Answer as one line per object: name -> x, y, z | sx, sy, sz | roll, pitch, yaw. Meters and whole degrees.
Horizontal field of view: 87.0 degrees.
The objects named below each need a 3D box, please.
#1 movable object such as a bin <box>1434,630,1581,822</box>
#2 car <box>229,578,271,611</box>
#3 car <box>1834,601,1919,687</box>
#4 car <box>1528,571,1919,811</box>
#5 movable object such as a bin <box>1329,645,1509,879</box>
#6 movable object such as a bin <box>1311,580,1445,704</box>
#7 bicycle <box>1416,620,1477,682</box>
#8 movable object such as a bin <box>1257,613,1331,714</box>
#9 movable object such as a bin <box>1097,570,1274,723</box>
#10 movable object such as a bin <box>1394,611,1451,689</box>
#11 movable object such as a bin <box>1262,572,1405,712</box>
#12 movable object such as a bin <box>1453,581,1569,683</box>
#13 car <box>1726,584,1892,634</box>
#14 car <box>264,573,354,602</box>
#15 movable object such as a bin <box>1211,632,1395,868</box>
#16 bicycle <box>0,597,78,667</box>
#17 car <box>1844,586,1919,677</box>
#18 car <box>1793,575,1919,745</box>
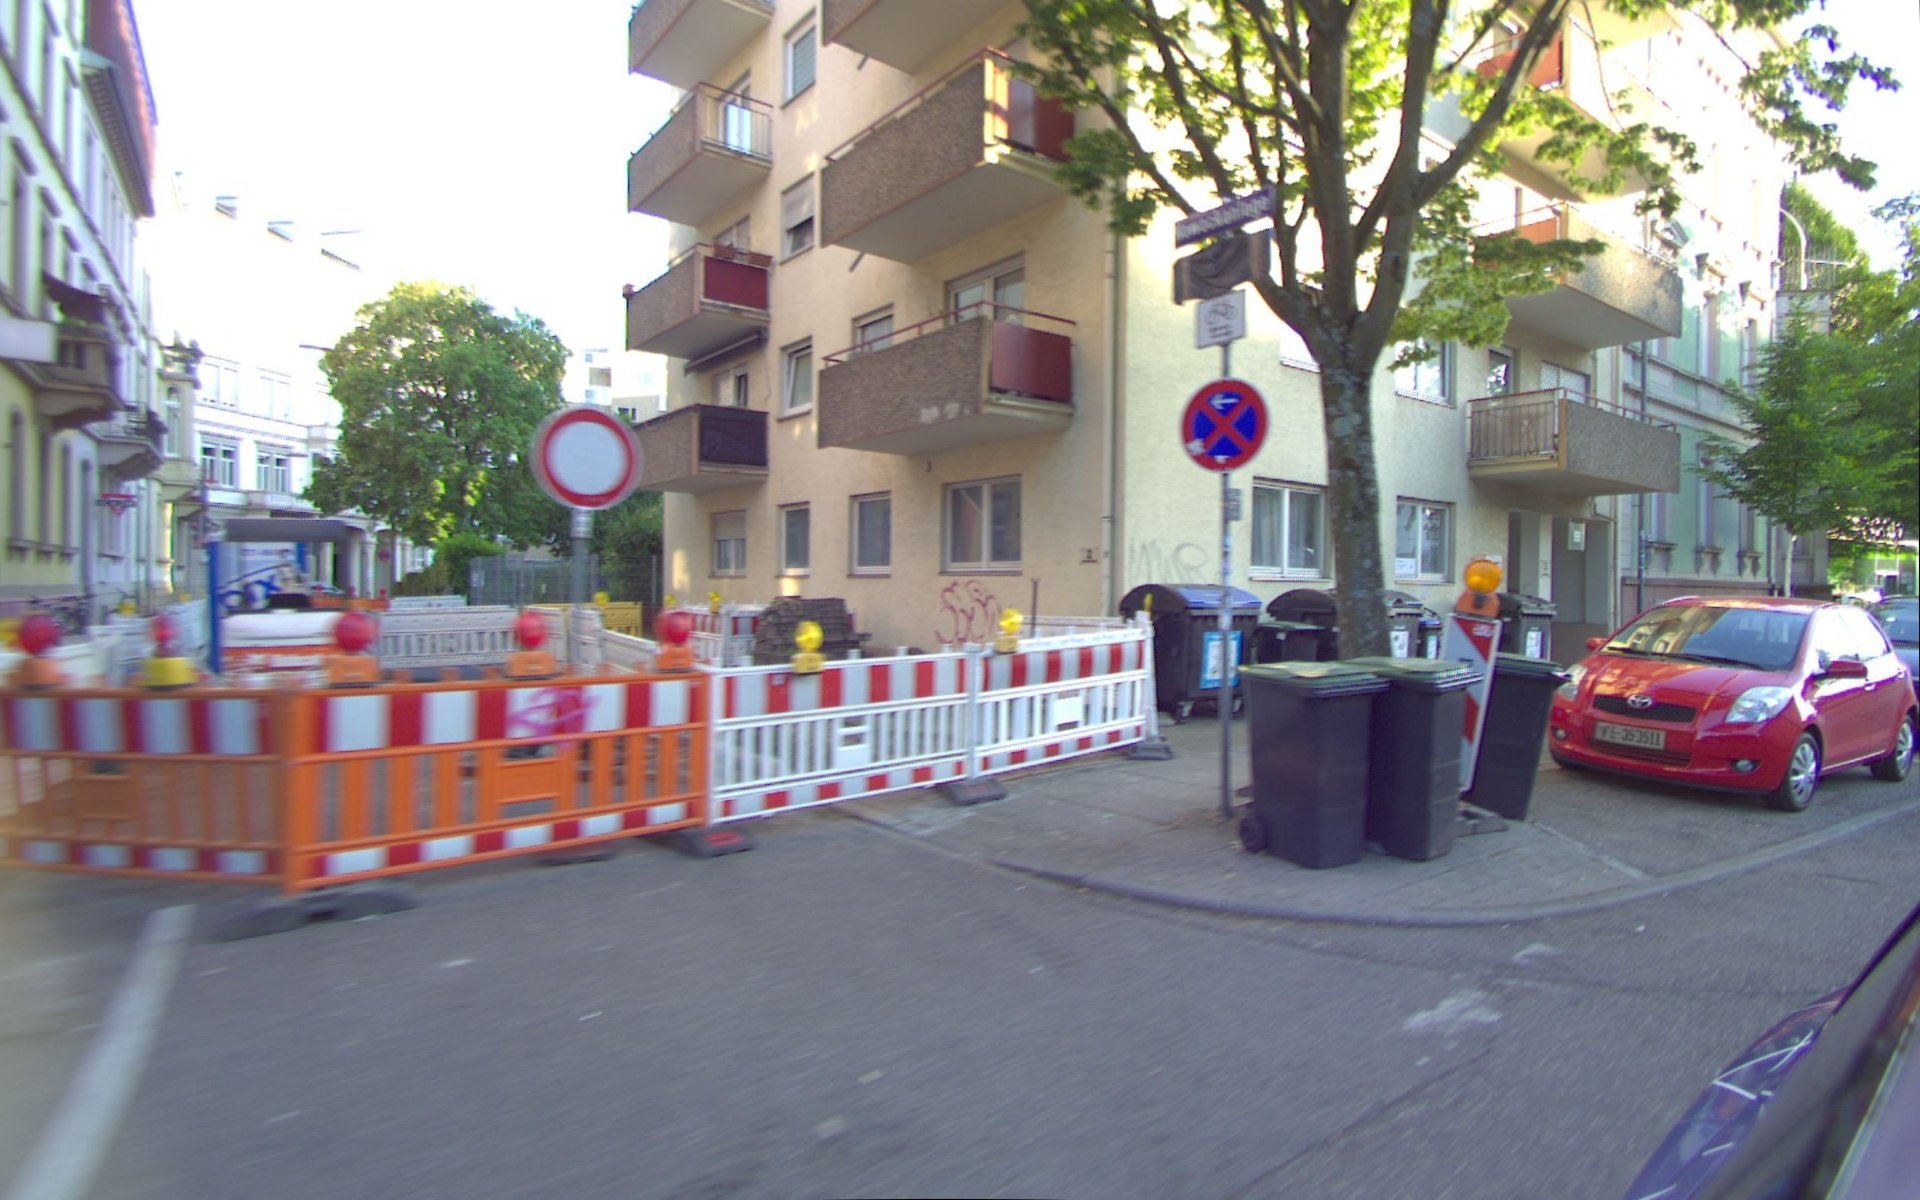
movable object such as a bin -> 3.608, 0.799, 6.725 | 0.612, 1.168, 0.715 | 1, 0, 6
car -> -33.865, -0.284, 48.253 | 1.504, 1.438, 3.696 | 0, 1, -37
car -> 18.319, 0.783, 17.769 | 4.162, 1.472, 1.633 | 1, 0, 23
car -> 6.498, 0.596, 8.378 | 3.621, 1.555, 1.571 | 0, 2, -33
movable object such as a bin -> 2.554, 0.855, 5.674 | 0.576, 1.168, 0.716 | 1, 0, -25
movable object such as a bin -> 5.452, 0.512, 13.208 | 1.247, 1.521, 1.143 | 1, 0, -38
bicycle -> 7.301, 0.748, 15.180 | 1.204, 0.875, 0.413 | 1, 0, -43
movable object such as a bin -> 3.687, 0.687, 11.183 | 0.560, 1.060, 0.555 | 1, 0, -39
movable object such as a bin -> 2.457, 0.460, 11.014 | 1.569, 1.521, 1.143 | 1, 0, -38
movable object such as a bin -> 6.582, 0.695, 14.407 | 0.560, 1.060, 0.555 | 1, 0, -39
movable object such as a bin -> 4.385, 0.455, 11.889 | 1.295, 1.521, 1.074 | 1, 0, -39
movable object such as a bin -> 8.665, 0.470, 15.922 | 1.455, 1.521, 1.116 | 1, 0, -38
car -> 29.281, 0.287, 35.051 | 1.766, 1.594, 4.004 | 2, 0, -24
car -> -35.072, -0.688, 54.640 | 1.511, 1.438, 4.219 | 1, 1, 14
movable object such as a bin -> 1.894, 0.780, 5.653 | 0.576, 1.168, 0.797 | 1, 0, -25
bicycle -> -14.927, 0.496, 16.110 | 0.490, 1.088, 1.247 | 0, 0, 27
car -> 20.193, 0.623, 19.675 | 4.164, 1.747, 1.708 | 1, 0, 24
car -> 11.056, 0.605, 11.216 | 4.010, 1.652, 1.750 | 0, 2, -35
